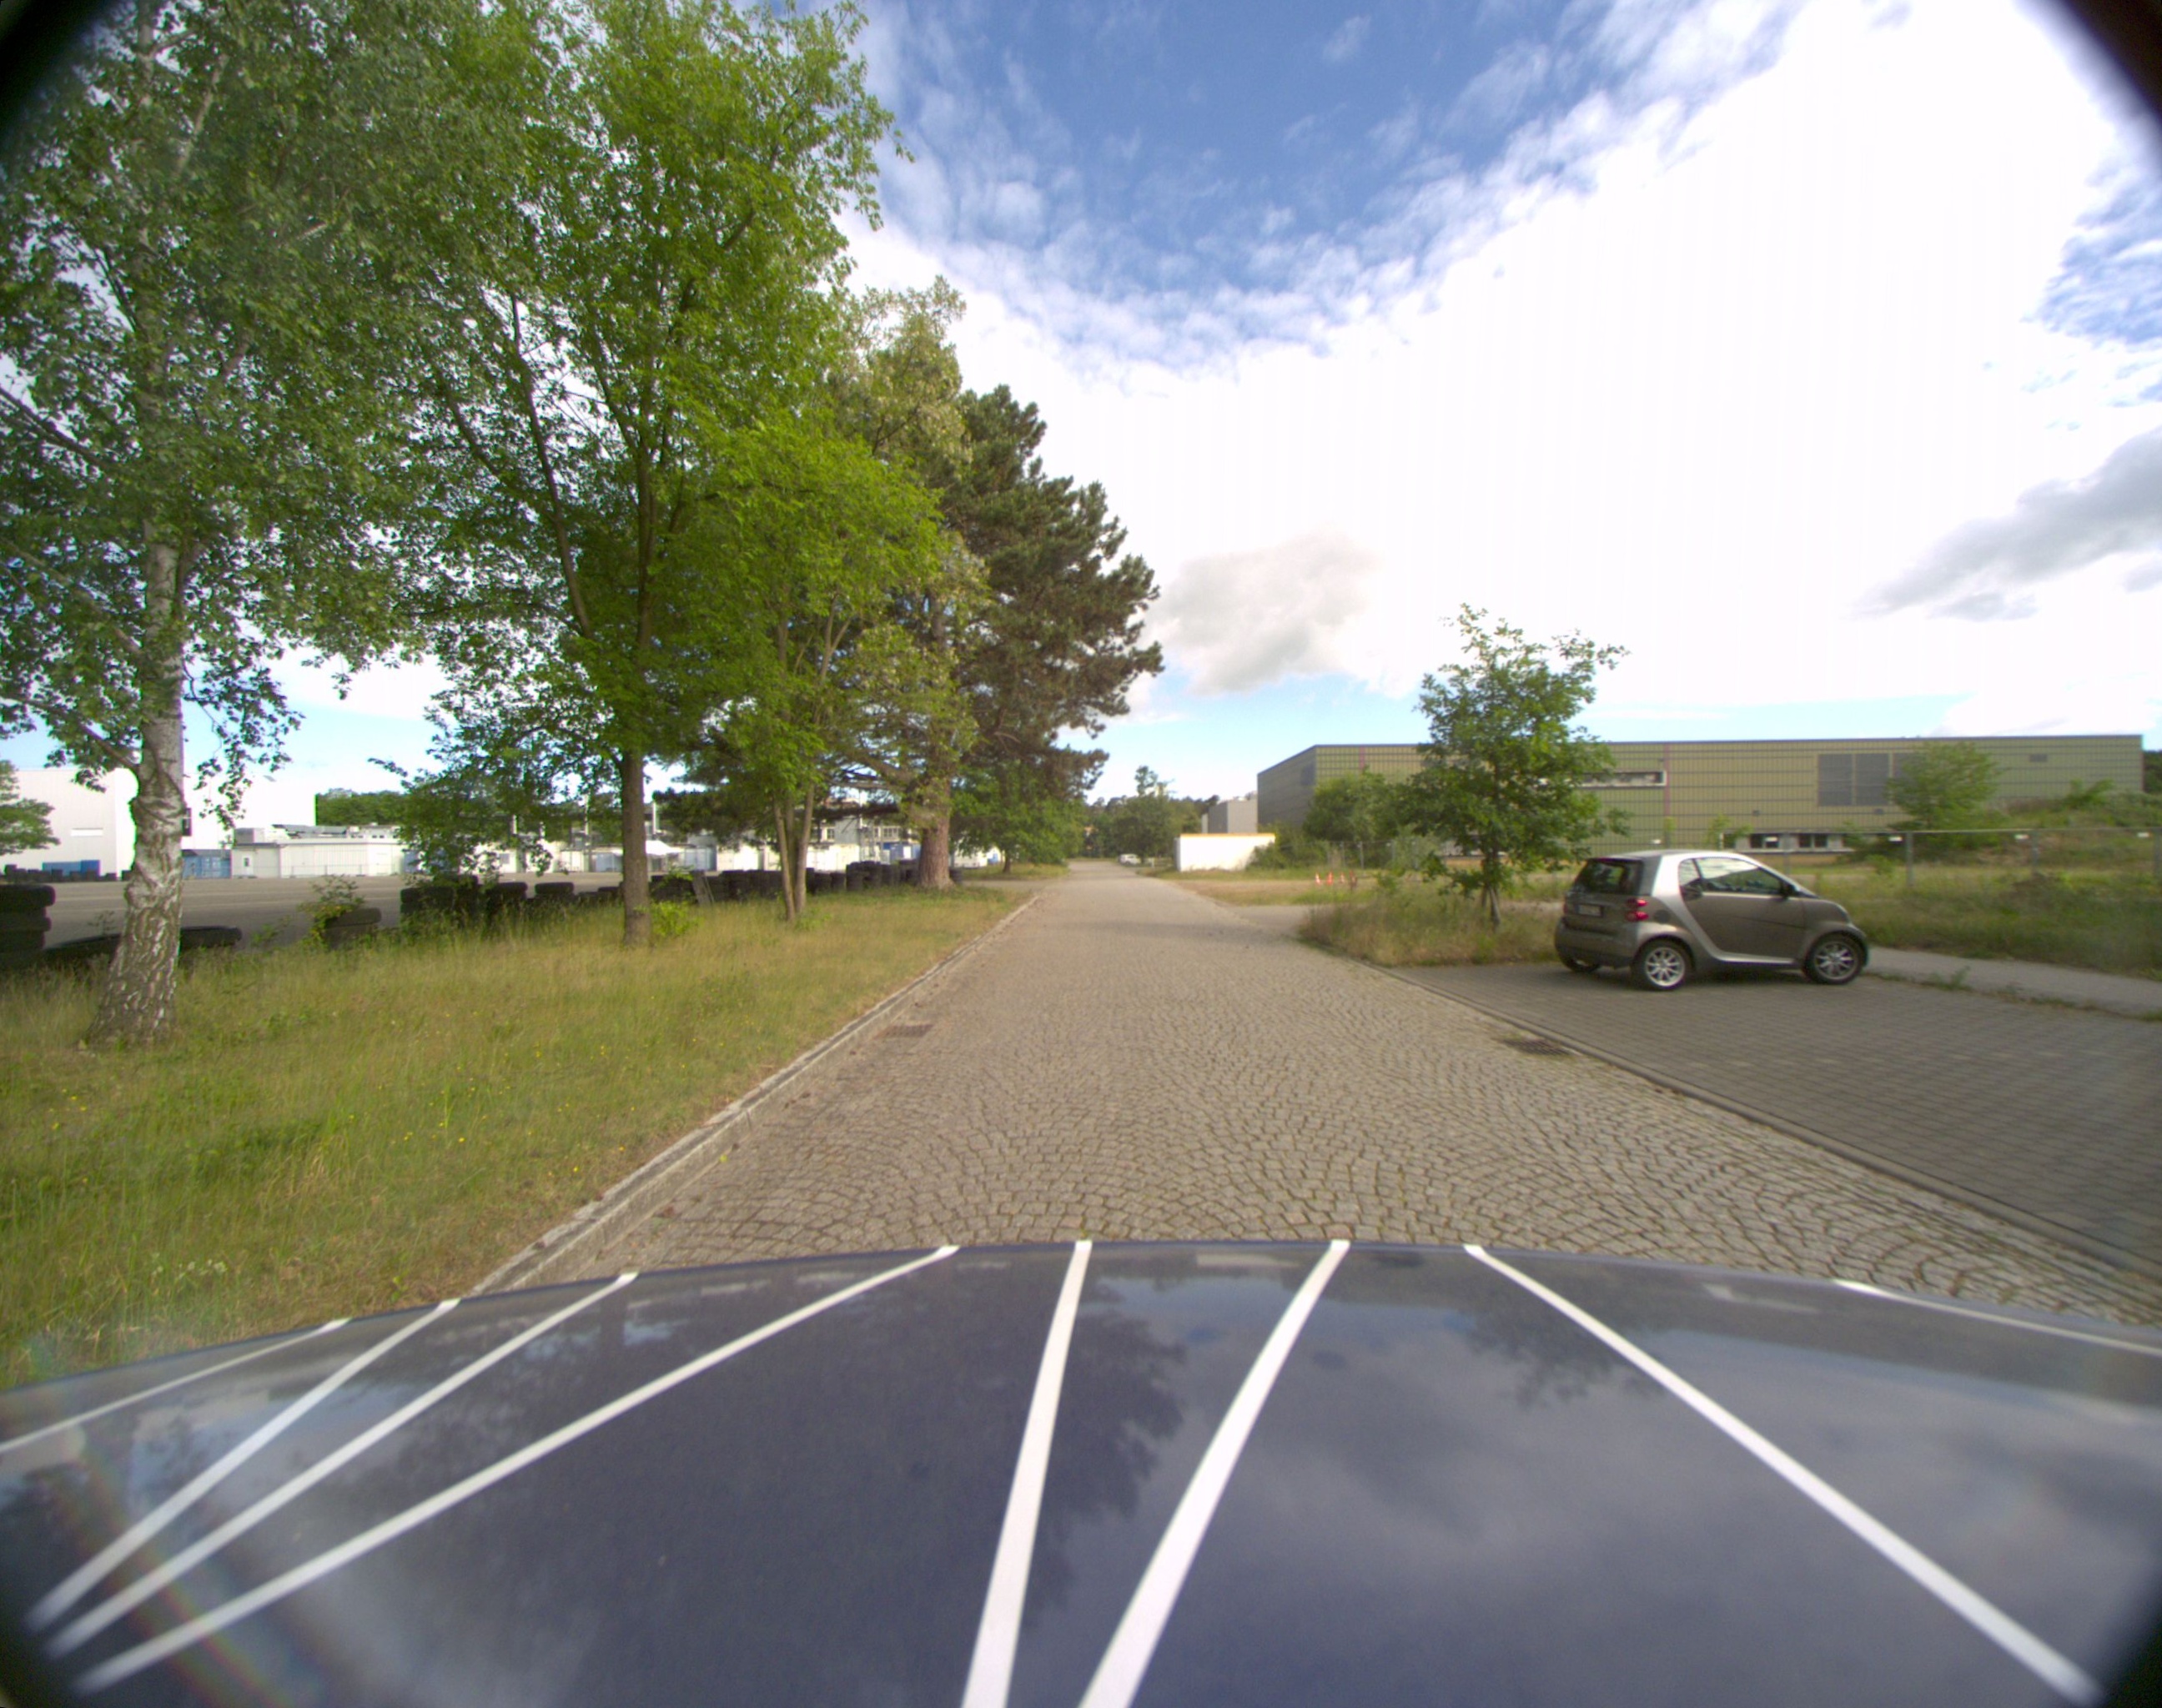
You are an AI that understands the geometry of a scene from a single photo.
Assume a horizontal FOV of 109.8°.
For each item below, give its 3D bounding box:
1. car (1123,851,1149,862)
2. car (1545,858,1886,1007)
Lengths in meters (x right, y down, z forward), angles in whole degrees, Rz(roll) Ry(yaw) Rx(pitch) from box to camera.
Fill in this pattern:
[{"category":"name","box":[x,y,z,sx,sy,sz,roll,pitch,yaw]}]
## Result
[{"category":"car","box":[8.382,0.391,116.201,3.996,1.604,1.797,0,1,4]},{"category":"car","box":[7.321,0.847,8.981,2.661,1.502,1.610,-2,0,0]}]
